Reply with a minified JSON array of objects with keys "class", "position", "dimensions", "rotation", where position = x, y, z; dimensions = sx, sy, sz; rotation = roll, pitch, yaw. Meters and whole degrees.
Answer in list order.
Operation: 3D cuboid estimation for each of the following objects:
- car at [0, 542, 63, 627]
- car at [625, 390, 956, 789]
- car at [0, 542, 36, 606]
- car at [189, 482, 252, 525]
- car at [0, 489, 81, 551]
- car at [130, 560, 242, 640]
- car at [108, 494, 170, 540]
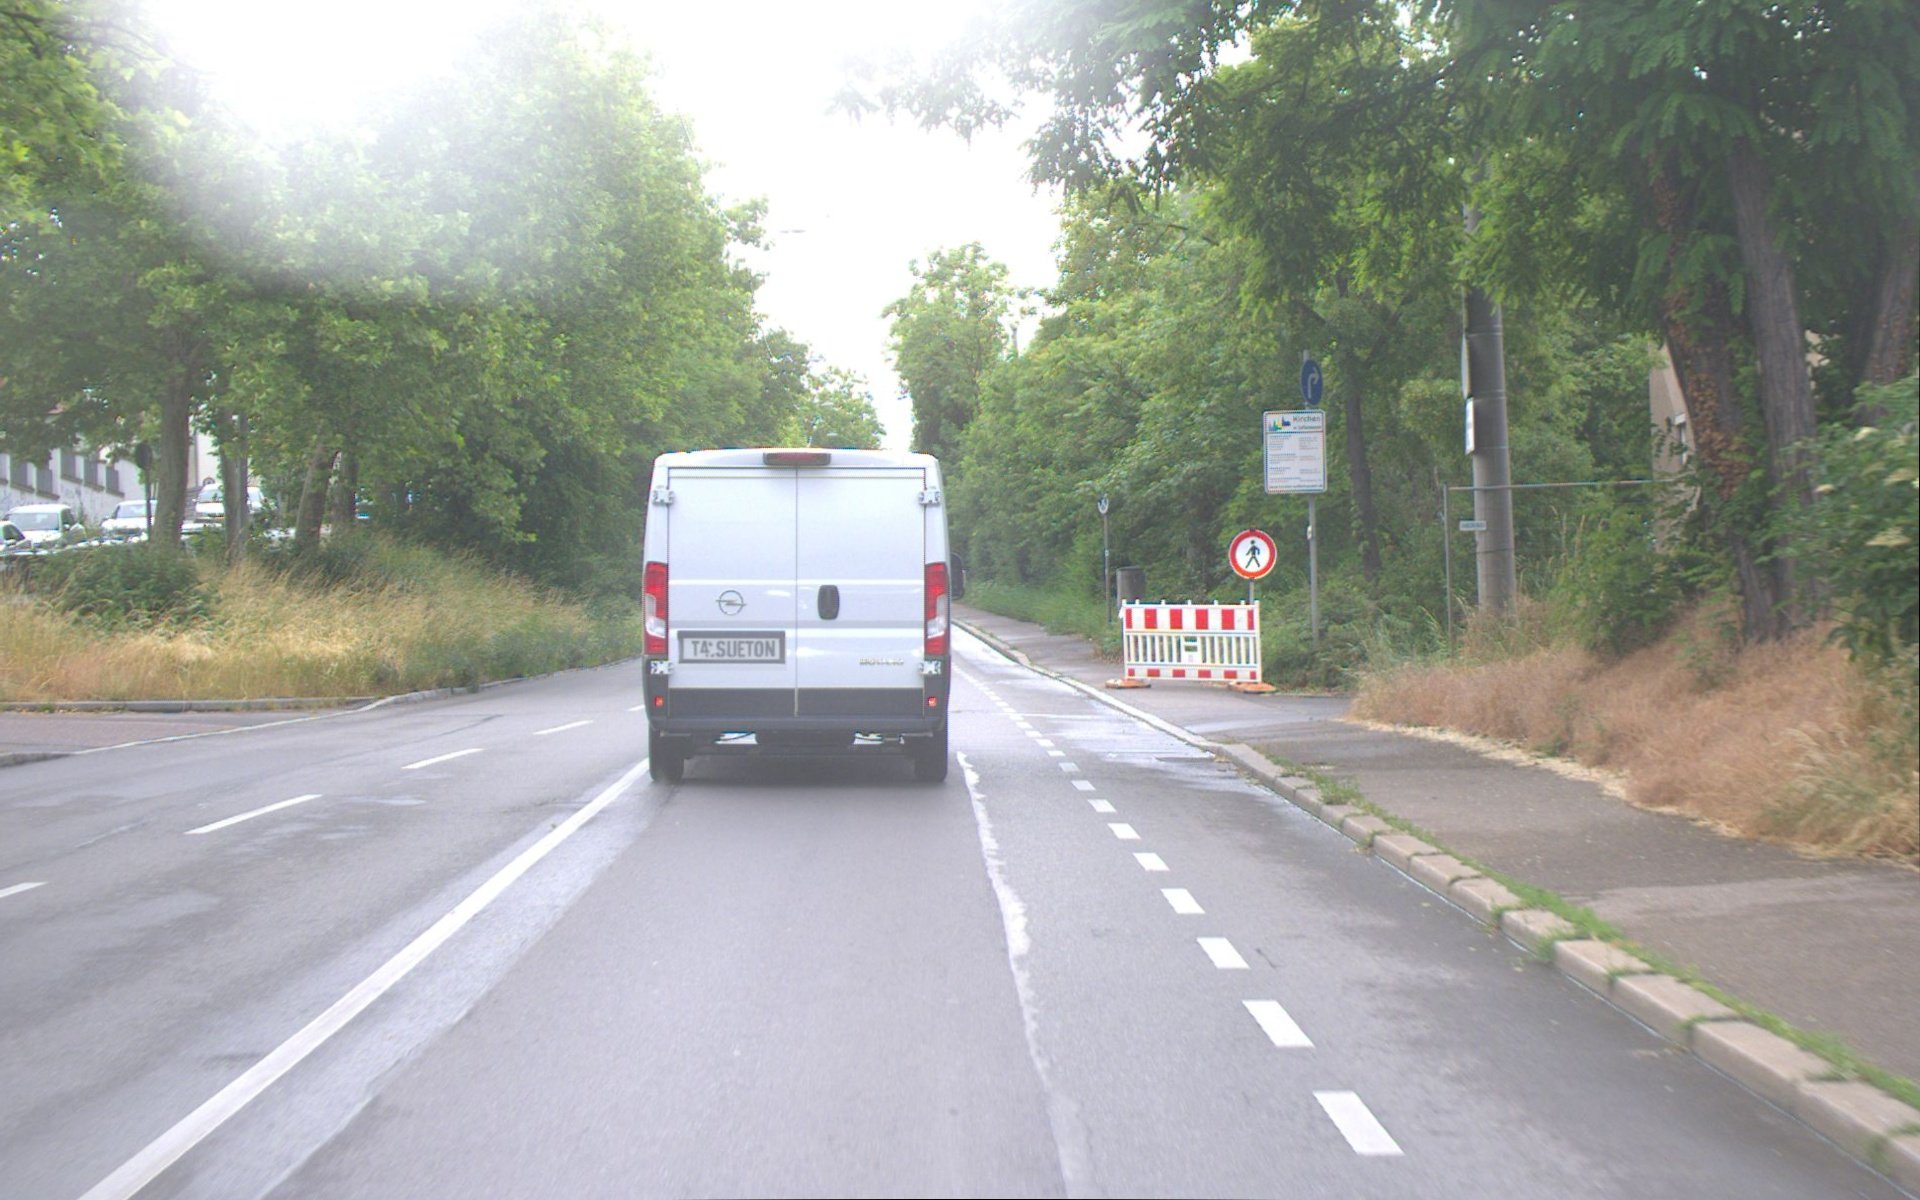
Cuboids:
[{"class":"car","position":[-13.936,-0.202,49.736],"dimensions":[1.350,1.127,2.753],"rotation":[-1,-1,-4]},{"class":"car","position":[-1.146,-0.106,24.646],"dimensions":[2.050,2.508,4.944],"rotation":[2,1,-1]},{"class":"car","position":[-21.470,-0.556,75.886],"dimensions":[1.360,1.305,3.086],"rotation":[-1,-1,-1]},{"class":"car","position":[-24.214,-3.151,112.642],"dimensions":[1.599,1.246,2.911],"rotation":[-1,-1,-5]},{"class":"car","position":[-21.887,-1.891,81.812],"dimensions":[1.382,1.294,3.015],"rotation":[-1,-1,-5]},{"class":"car","position":[-14.202,0.023,63.172],"dimensions":[1.435,1.357,3.175],"rotation":[-1,-1,-2]},{"class":"car","position":[-22.956,-2.320,96.181],"dimensions":[1.213,1.129,2.452],"rotation":[-1,-1,-2]}]
